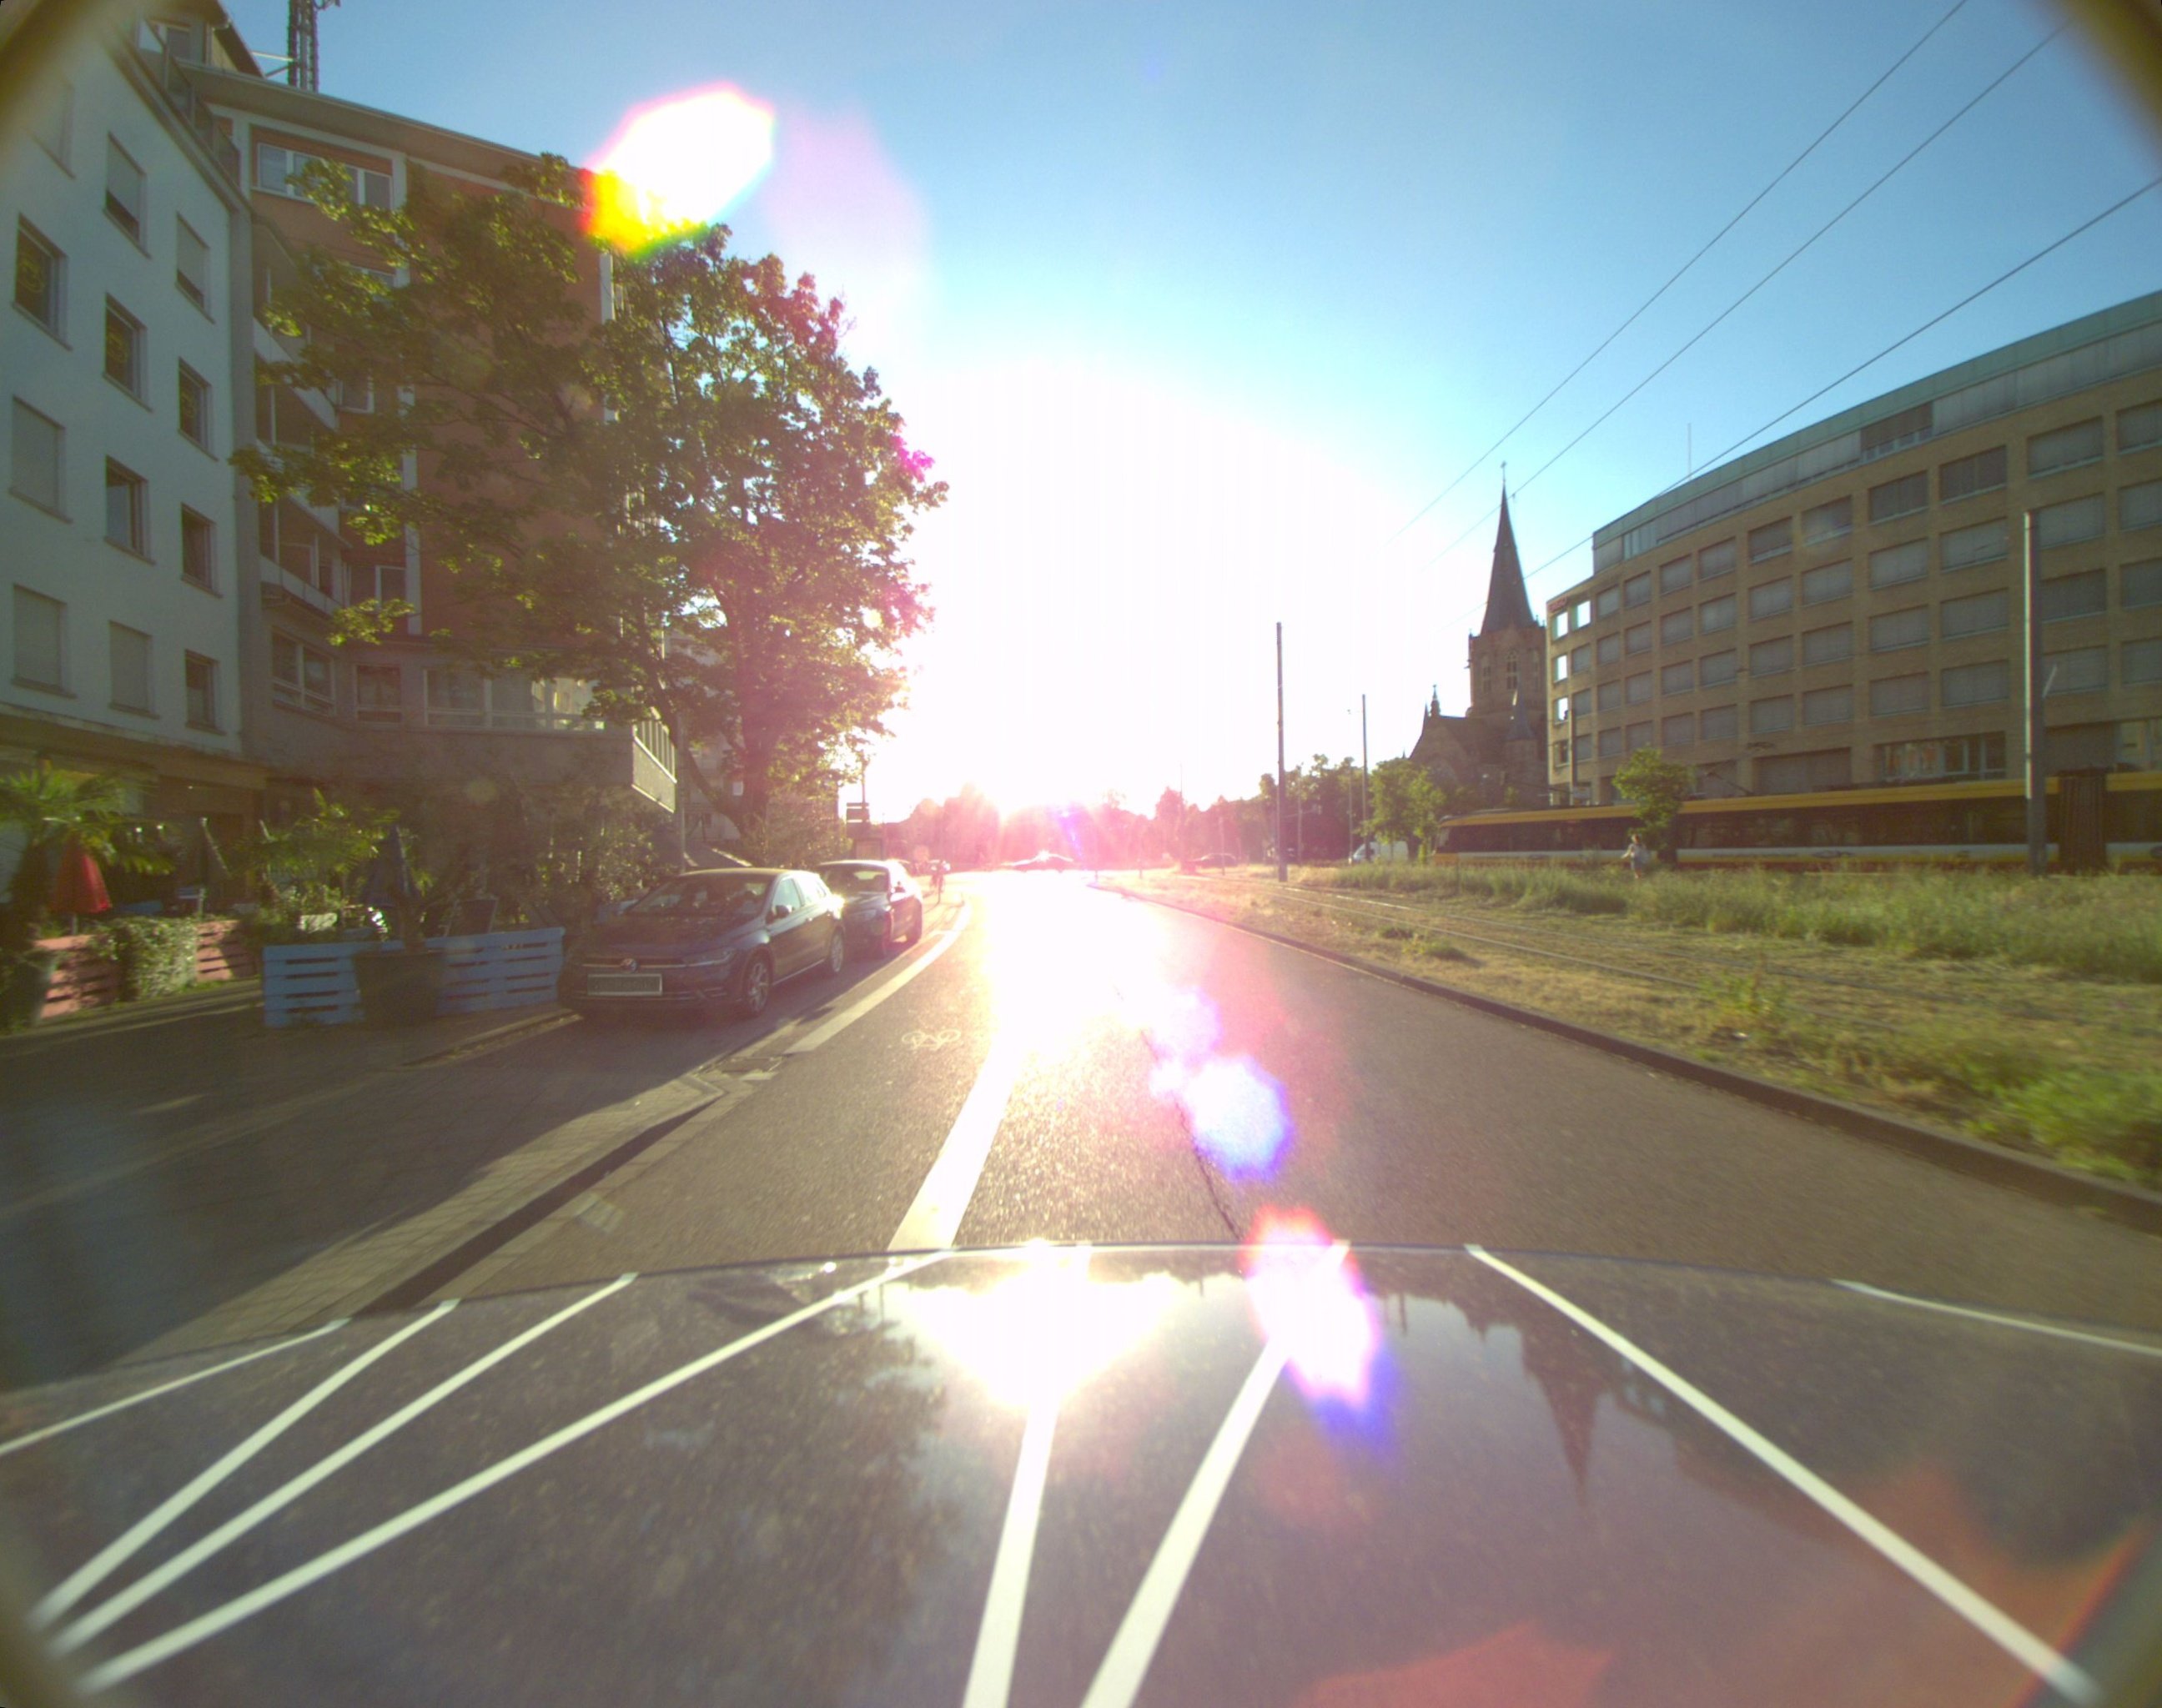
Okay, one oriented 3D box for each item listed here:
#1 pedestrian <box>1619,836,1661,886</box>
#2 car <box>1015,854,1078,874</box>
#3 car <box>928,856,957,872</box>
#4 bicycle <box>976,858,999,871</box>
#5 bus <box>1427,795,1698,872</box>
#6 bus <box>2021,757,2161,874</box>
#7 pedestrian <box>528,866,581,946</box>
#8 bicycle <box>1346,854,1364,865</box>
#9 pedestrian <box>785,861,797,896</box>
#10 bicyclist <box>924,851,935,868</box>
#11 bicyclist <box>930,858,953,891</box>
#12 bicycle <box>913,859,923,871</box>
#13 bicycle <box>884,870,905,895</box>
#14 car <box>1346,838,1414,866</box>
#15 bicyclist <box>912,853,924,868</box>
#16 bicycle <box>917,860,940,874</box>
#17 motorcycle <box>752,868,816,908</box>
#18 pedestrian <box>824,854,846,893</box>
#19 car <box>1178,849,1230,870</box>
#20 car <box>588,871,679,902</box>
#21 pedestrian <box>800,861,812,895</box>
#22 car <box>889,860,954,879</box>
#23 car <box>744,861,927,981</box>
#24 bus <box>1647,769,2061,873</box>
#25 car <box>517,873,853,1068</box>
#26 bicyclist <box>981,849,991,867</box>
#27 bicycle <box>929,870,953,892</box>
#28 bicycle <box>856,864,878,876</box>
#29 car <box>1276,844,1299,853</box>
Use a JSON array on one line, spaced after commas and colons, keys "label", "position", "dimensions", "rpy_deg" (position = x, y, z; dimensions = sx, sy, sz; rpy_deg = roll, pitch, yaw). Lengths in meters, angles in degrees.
[{"label": "pedestrian", "position": [16.627, 0.206, 22.602], "dimensions": [0.672, 1.450, 0.699], "rpy_deg": [-2, 0, -3]}, {"label": "car", "position": [-2.894, 0.832, 63.560], "dimensions": [5.026, 1.499, 1.723], "rpy_deg": [-2, 0, -8]}, {"label": "car", "position": [-14.372, 1.068, 78.570], "dimensions": [1.958, 1.484, 3.951], "rpy_deg": [-2, 0, -24]}, {"label": "bicycle", "position": [-8.706, 0.973, 70.689], "dimensions": [1.973, 1.175, 0.490], "rpy_deg": [-1, 0, -19]}, {"label": "bus", "position": [24.655, -0.850, 40.273], "dimensions": [3.764, 3.435, 12.110], "rpy_deg": [-2, 0, -23]}, {"label": "bus", "position": [34.595, -1.255, 18.806], "dimensions": [3.765, 3.343, 13.686], "rpy_deg": [-2, 0, -26]}, {"label": "pedestrian", "position": [-11.672, 1.133, 16.878], "dimensions": [0.895, 1.715, 0.772], "rpy_deg": [-1, -1, -30]}, {"label": "bicycle", "position": [30.397, 0.596, 84.262], "dimensions": [1.973, 1.175, 0.490], "rpy_deg": [-2, 0, -19]}, {"label": "pedestrian", "position": [-14.266, 1.201, 37.379], "dimensions": [0.519, 1.683, 0.771], "rpy_deg": [-1, 0, -19]}, {"label": "bicyclist", "position": [-13.904, 0.534, 69.801], "dimensions": [0.734, 1.559, 0.821], "rpy_deg": [-3, 0, -22]}, {"label": "bicyclist", "position": [-6.527, 0.953, 35.507], "dimensions": [0.799, 1.472, 0.805], "rpy_deg": [-3, 0, -30]}, {"label": "bicycle", "position": [-16.953, 1.152, 79.013], "dimensions": [0.576, 1.193, 2.202], "rpy_deg": [-3, 0, -22]}, {"label": "bicycle", "position": [-8.021, 1.221, 32.645], "dimensions": [0.361, 1.021, 1.790], "rpy_deg": [-3, 0, -29]}, {"label": "car", "position": [32.520, -0.173, 82.691], "dimensions": [7.209, 2.861, 2.305], "rpy_deg": [-1, 0, -22]}, {"label": "bicyclist", "position": [-16.902, 0.719, 78.945], "dimensions": [0.997, 1.529, 0.921], "rpy_deg": [-3, 0, -22]}, {"label": "bicycle", "position": [-13.958, 1.175, 69.751], "dimensions": [1.973, 1.175, 0.489], "rpy_deg": [-2, 0, -21]}, {"label": "motorcycle", "position": [-10.992, 1.253, 28.147], "dimensions": [2.150, 1.346, 0.642], "rpy_deg": [-2, 0, -23]}, {"label": "pedestrian", "position": [-12.355, 0.964, 38.153], "dimensions": [0.701, 1.946, 0.849], "rpy_deg": [-1, 0, 10]}, {"label": "car", "position": [10.133, 0.455, 62.735], "dimensions": [3.996, 1.533, 2.000], "rpy_deg": [-2, 0, 2]}, {"label": "car", "position": [-25.611, 1.842, 43.637], "dimensions": [4.194, 1.418, 1.928], "rpy_deg": [-3, 2, -23]}, {"label": "pedestrian", "position": [-13.632, 1.196, 37.669], "dimensions": [0.519, 1.634, 0.706], "rpy_deg": [-2, 0, -19]}, {"label": "car", "position": [-12.817, 1.230, 61.024], "dimensions": [5.045, 1.428, 1.876], "rpy_deg": [0, 1, -15]}, {"label": "car", "position": [-4.063, 1.001, 13.503], "dimensions": [1.809, 1.660, 4.812], "rpy_deg": [-2, 0, -3]}, {"label": "bus", "position": [29.282, -0.999, 29.856], "dimensions": [3.765, 3.311, 10.716], "rpy_deg": [-2, 0, -25]}, {"label": "car", "position": [-4.039, 1.064, 8.626], "dimensions": [1.655, 1.525, 4.066], "rpy_deg": [-2, 0, -1]}, {"label": "bicyclist", "position": [-8.848, 0.368, 70.649], "dimensions": [0.734, 1.559, 0.822], "rpy_deg": [-3, 0, -18]}, {"label": "bicycle", "position": [-6.613, 1.259, 35.735], "dimensions": [0.516, 1.021, 1.790], "rpy_deg": [-3, 0, -29]}, {"label": "bicycle", "position": [-20.789, 1.563, 73.914], "dimensions": [1.959, 1.113, 0.457], "rpy_deg": [-2, 0, -20]}, {"label": "car", "position": [44.582, -1.146, 164.121], "dimensions": [4.120, 1.811, 2.004], "rpy_deg": [-2, 0, 40]}]
